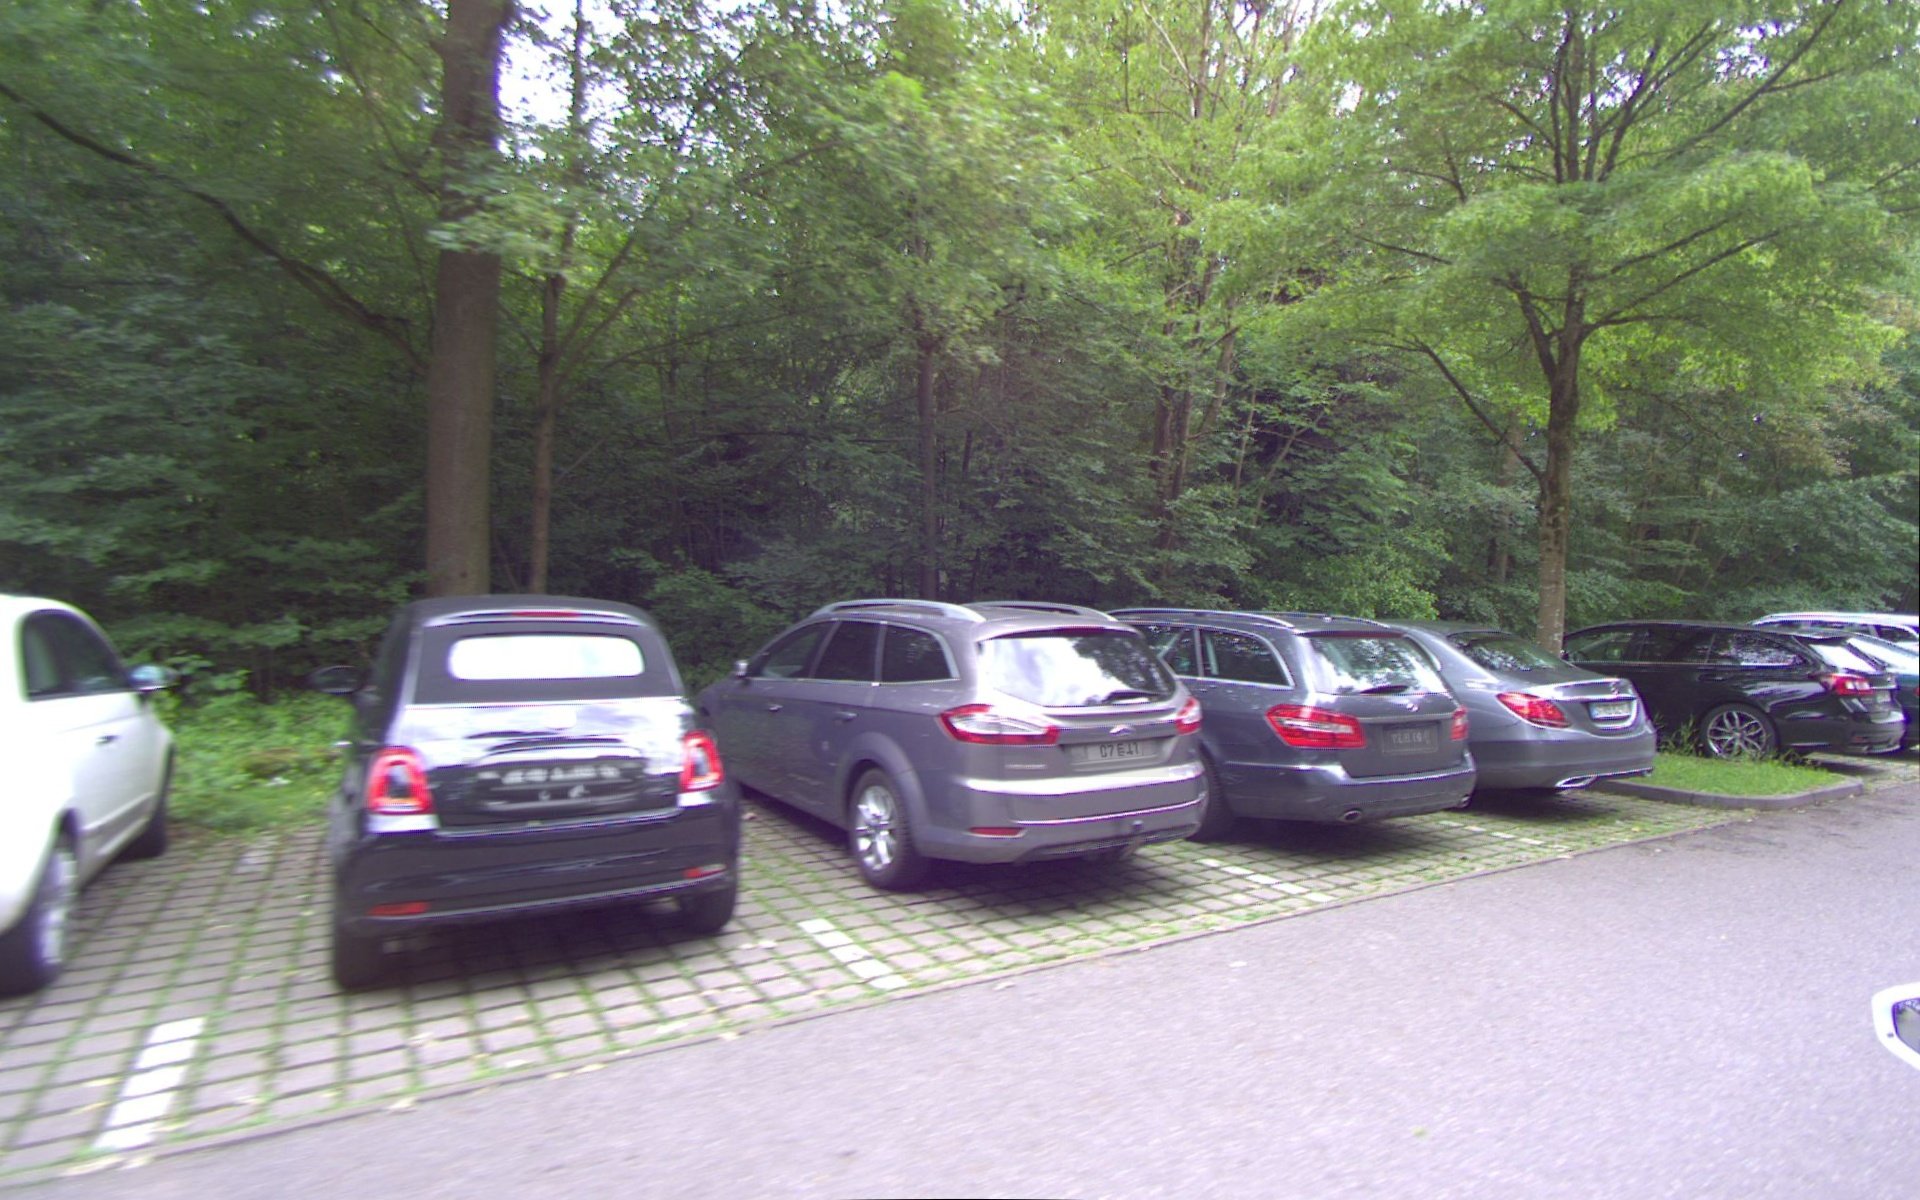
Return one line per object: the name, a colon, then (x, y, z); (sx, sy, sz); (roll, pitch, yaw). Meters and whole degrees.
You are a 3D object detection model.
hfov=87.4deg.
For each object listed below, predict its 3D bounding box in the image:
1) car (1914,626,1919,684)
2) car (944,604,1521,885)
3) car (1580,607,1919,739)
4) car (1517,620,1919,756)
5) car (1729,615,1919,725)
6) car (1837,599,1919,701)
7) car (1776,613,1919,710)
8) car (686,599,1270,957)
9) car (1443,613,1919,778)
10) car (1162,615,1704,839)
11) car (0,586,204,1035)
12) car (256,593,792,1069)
car: (24.678, 1.346, 22.994); (1.913, 1.387, 3.729); (1, 0, -30)
car: (1.763, 0.817, 7.785); (1.974, 1.500, 4.087); (1, 0, -32)
car: (12.099, 0.954, 14.777); (1.938, 1.616, 4.706); (1, 0, -32)
car: (10.070, 0.995, 12.952); (1.965, 1.361, 4.706); (1, 0, -32)
car: (14.542, 1.054, 15.413); (1.980, 1.550, 3.960); (1, 0, -35)
car: (18.696, 0.938, 18.087); (2.093, 1.841, 3.962); (1, 0, -34)
car: (16.507, 1.035, 16.840); (1.978, 1.550, 3.966); (1, 0, -31)
car: (-0.221, 0.792, 6.641); (1.909, 1.544, 4.064); (1, 0, -33)
car: (8.135, 0.928, 11.659); (1.740, 1.468, 4.266); (1, 0, -36)
car: (3.932, 0.905, 9.102); (1.940, 1.450, 4.091); (1, 0, -29)
car: (-4.736, 0.685, 4.648); (1.642, 1.470, 3.843); (0, 1, -32)
car: (-2.547, 0.755, 5.646); (1.815, 1.508, 4.381); (1, 1, -29)
